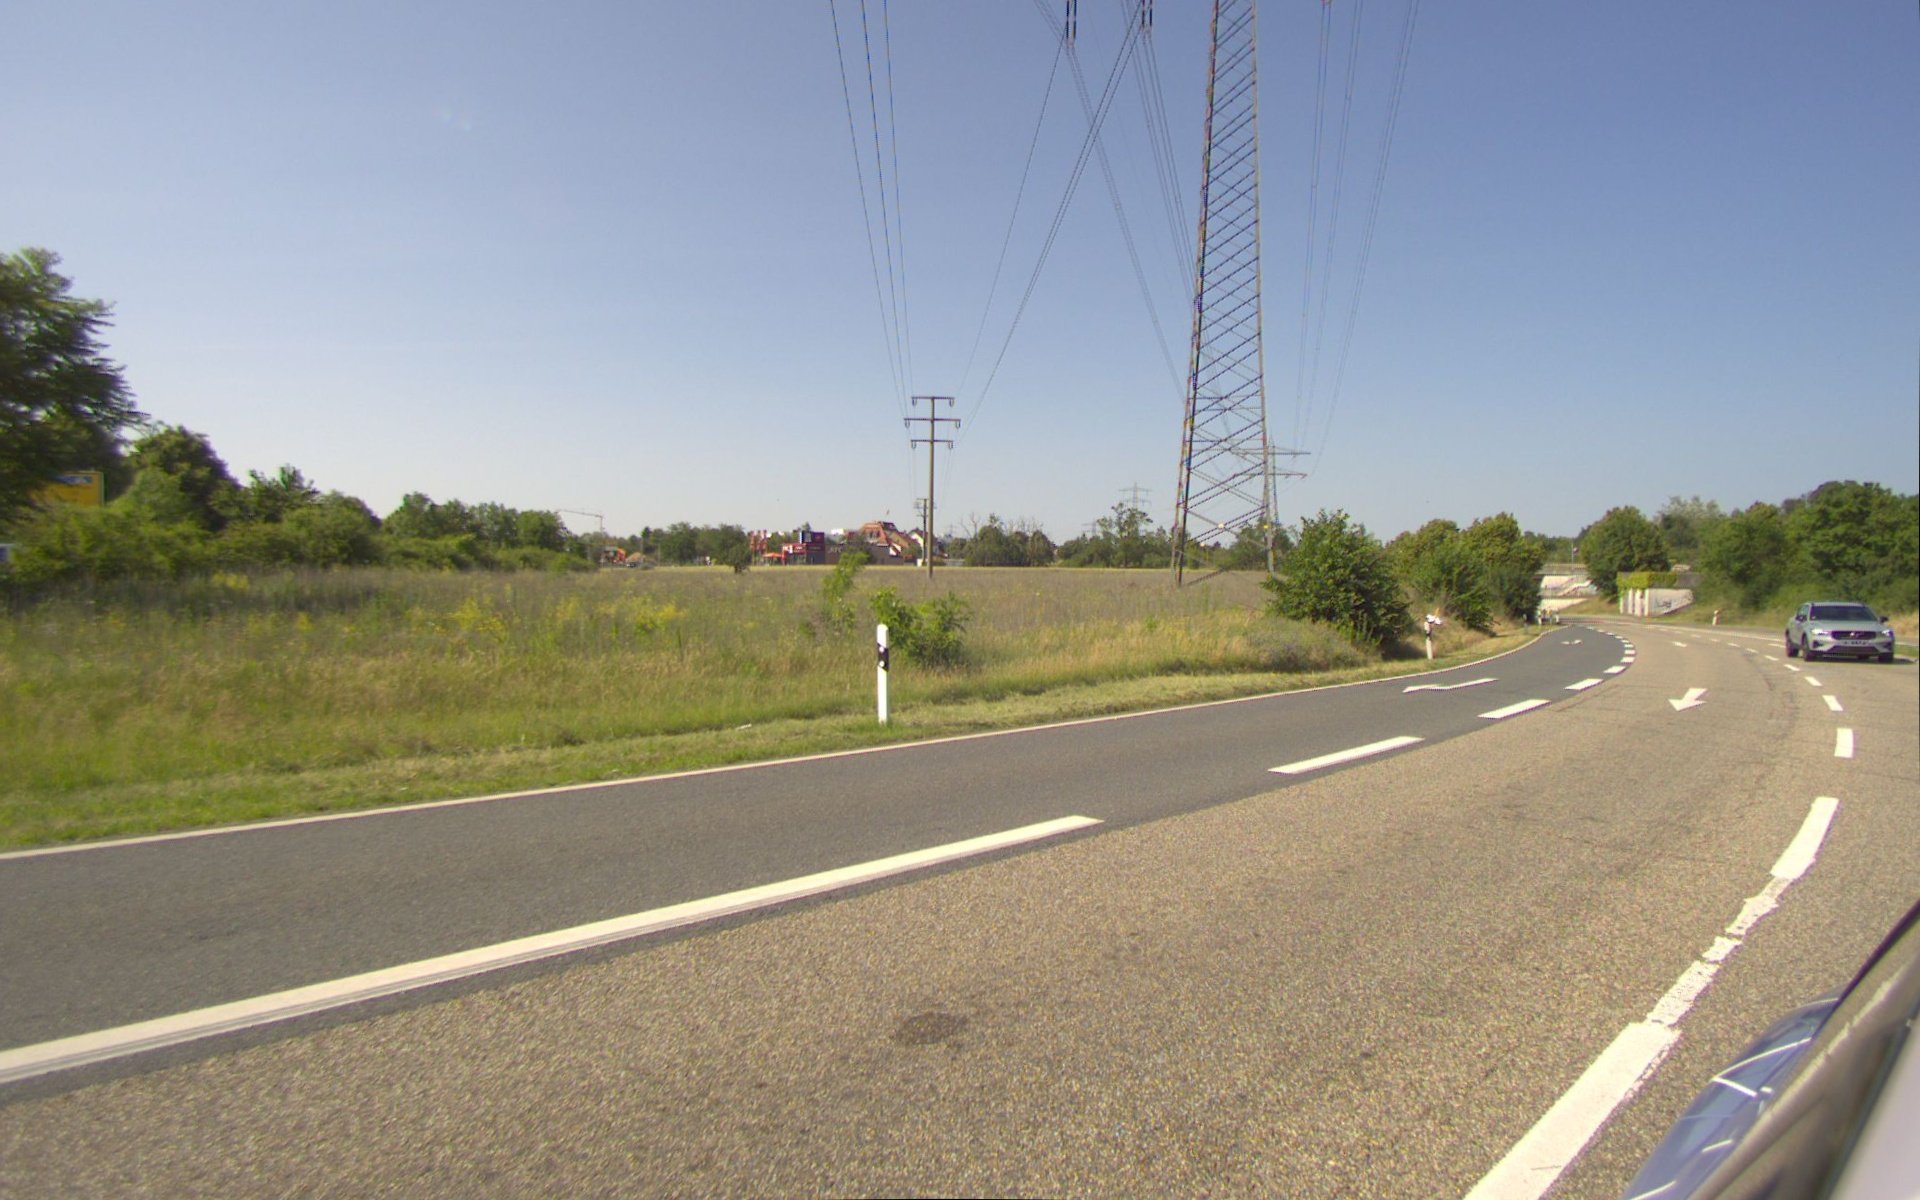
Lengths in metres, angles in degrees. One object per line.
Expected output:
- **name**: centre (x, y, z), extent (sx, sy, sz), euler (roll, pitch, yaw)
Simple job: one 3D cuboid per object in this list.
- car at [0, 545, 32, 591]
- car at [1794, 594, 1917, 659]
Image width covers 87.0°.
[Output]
- **car**: centre (-52.066, -1.724, 54.403), extent (1.431, 2.467, 3.913), euler (0, 0, -12)
- **car**: centre (24.736, 0.683, 28.097), extent (1.845, 1.640, 3.609), euler (0, 0, 30)
